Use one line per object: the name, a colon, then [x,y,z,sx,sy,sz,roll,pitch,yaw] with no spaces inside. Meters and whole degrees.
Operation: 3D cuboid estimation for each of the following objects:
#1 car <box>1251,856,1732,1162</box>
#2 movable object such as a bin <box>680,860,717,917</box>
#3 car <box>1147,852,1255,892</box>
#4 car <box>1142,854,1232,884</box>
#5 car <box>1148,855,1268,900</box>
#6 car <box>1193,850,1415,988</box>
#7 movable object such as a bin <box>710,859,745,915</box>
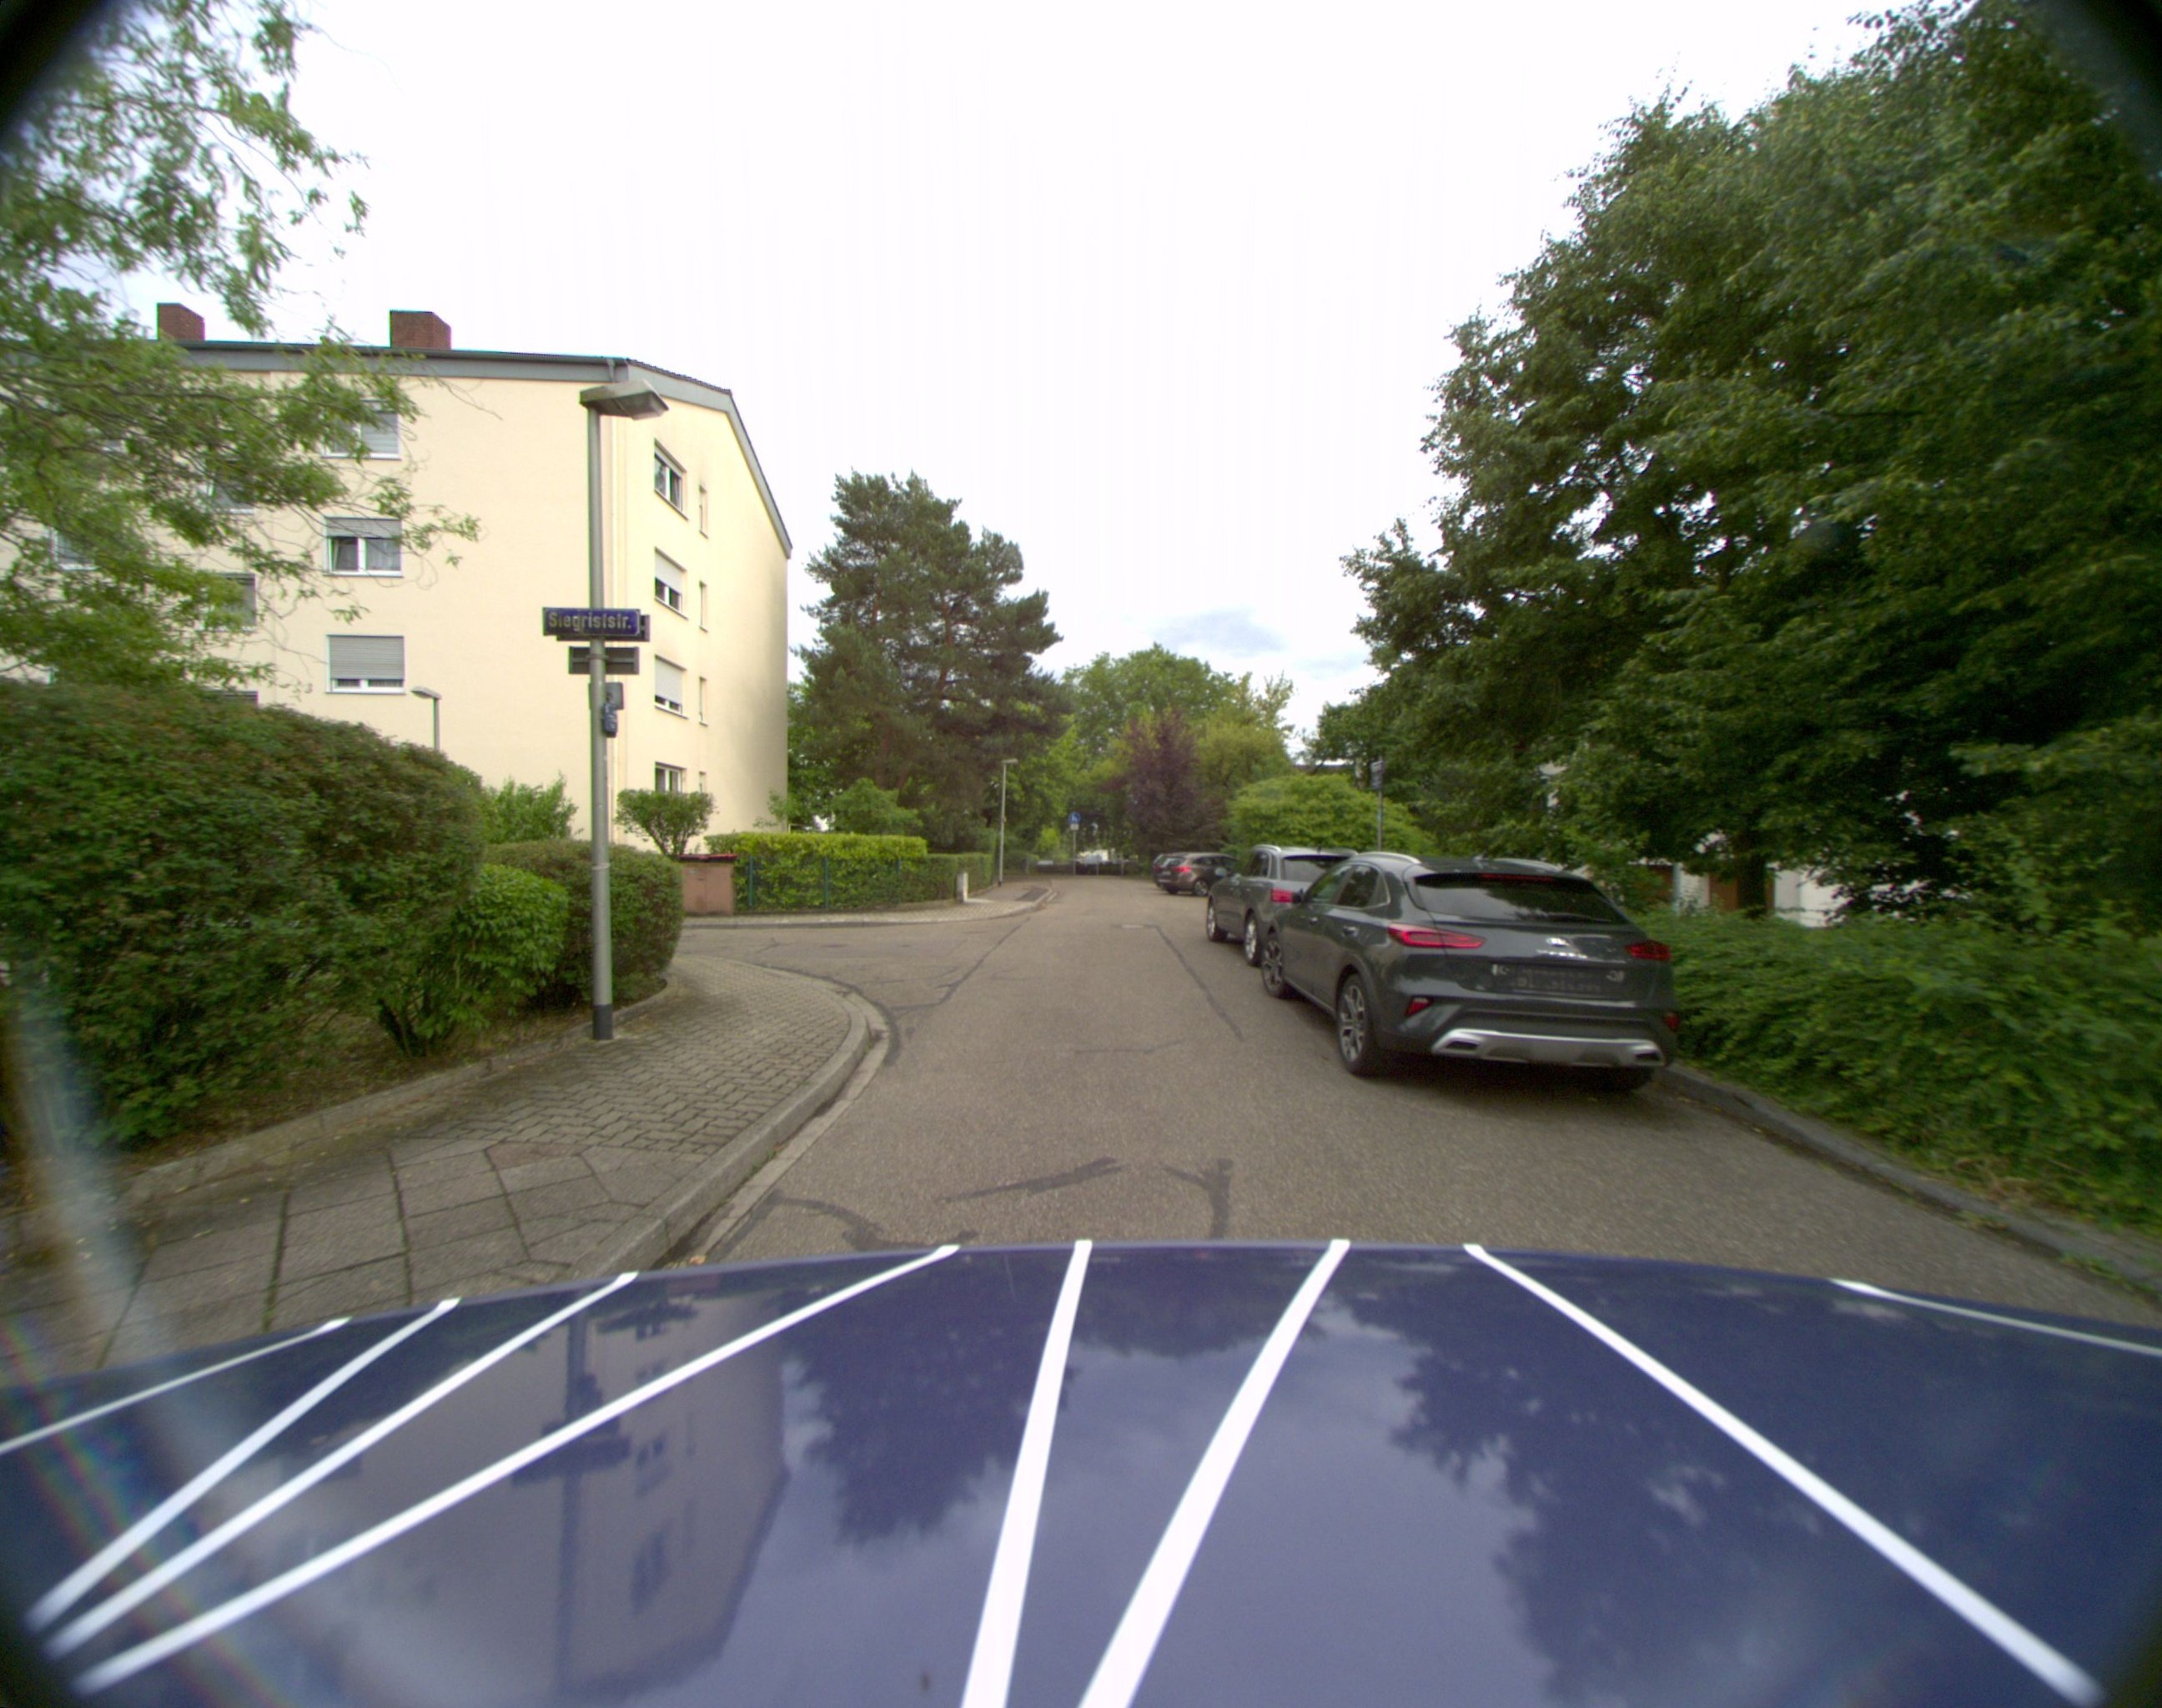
car: [2.652,0.835,6.167,1.745,1.522,4.195,2,1,3]
movable object such as a bin: [-8.155,0.731,16.217,0.515,1.181,0.506,0,1,-3]
car: [4.765,0.687,30.158,4.006,1.482,1.697,0,1,-27]
car: [5.069,0.682,36.376,4.006,1.367,1.697,0,1,-27]
car: [4.577,0.779,27.219,4.006,1.482,1.697,0,1,-27]
car: [2.885,0.740,10.877,1.746,1.522,4.249,2,1,-2]
movable object such as a bin: [-7.578,0.692,16.305,0.515,1.180,0.507,0,0,-3]
